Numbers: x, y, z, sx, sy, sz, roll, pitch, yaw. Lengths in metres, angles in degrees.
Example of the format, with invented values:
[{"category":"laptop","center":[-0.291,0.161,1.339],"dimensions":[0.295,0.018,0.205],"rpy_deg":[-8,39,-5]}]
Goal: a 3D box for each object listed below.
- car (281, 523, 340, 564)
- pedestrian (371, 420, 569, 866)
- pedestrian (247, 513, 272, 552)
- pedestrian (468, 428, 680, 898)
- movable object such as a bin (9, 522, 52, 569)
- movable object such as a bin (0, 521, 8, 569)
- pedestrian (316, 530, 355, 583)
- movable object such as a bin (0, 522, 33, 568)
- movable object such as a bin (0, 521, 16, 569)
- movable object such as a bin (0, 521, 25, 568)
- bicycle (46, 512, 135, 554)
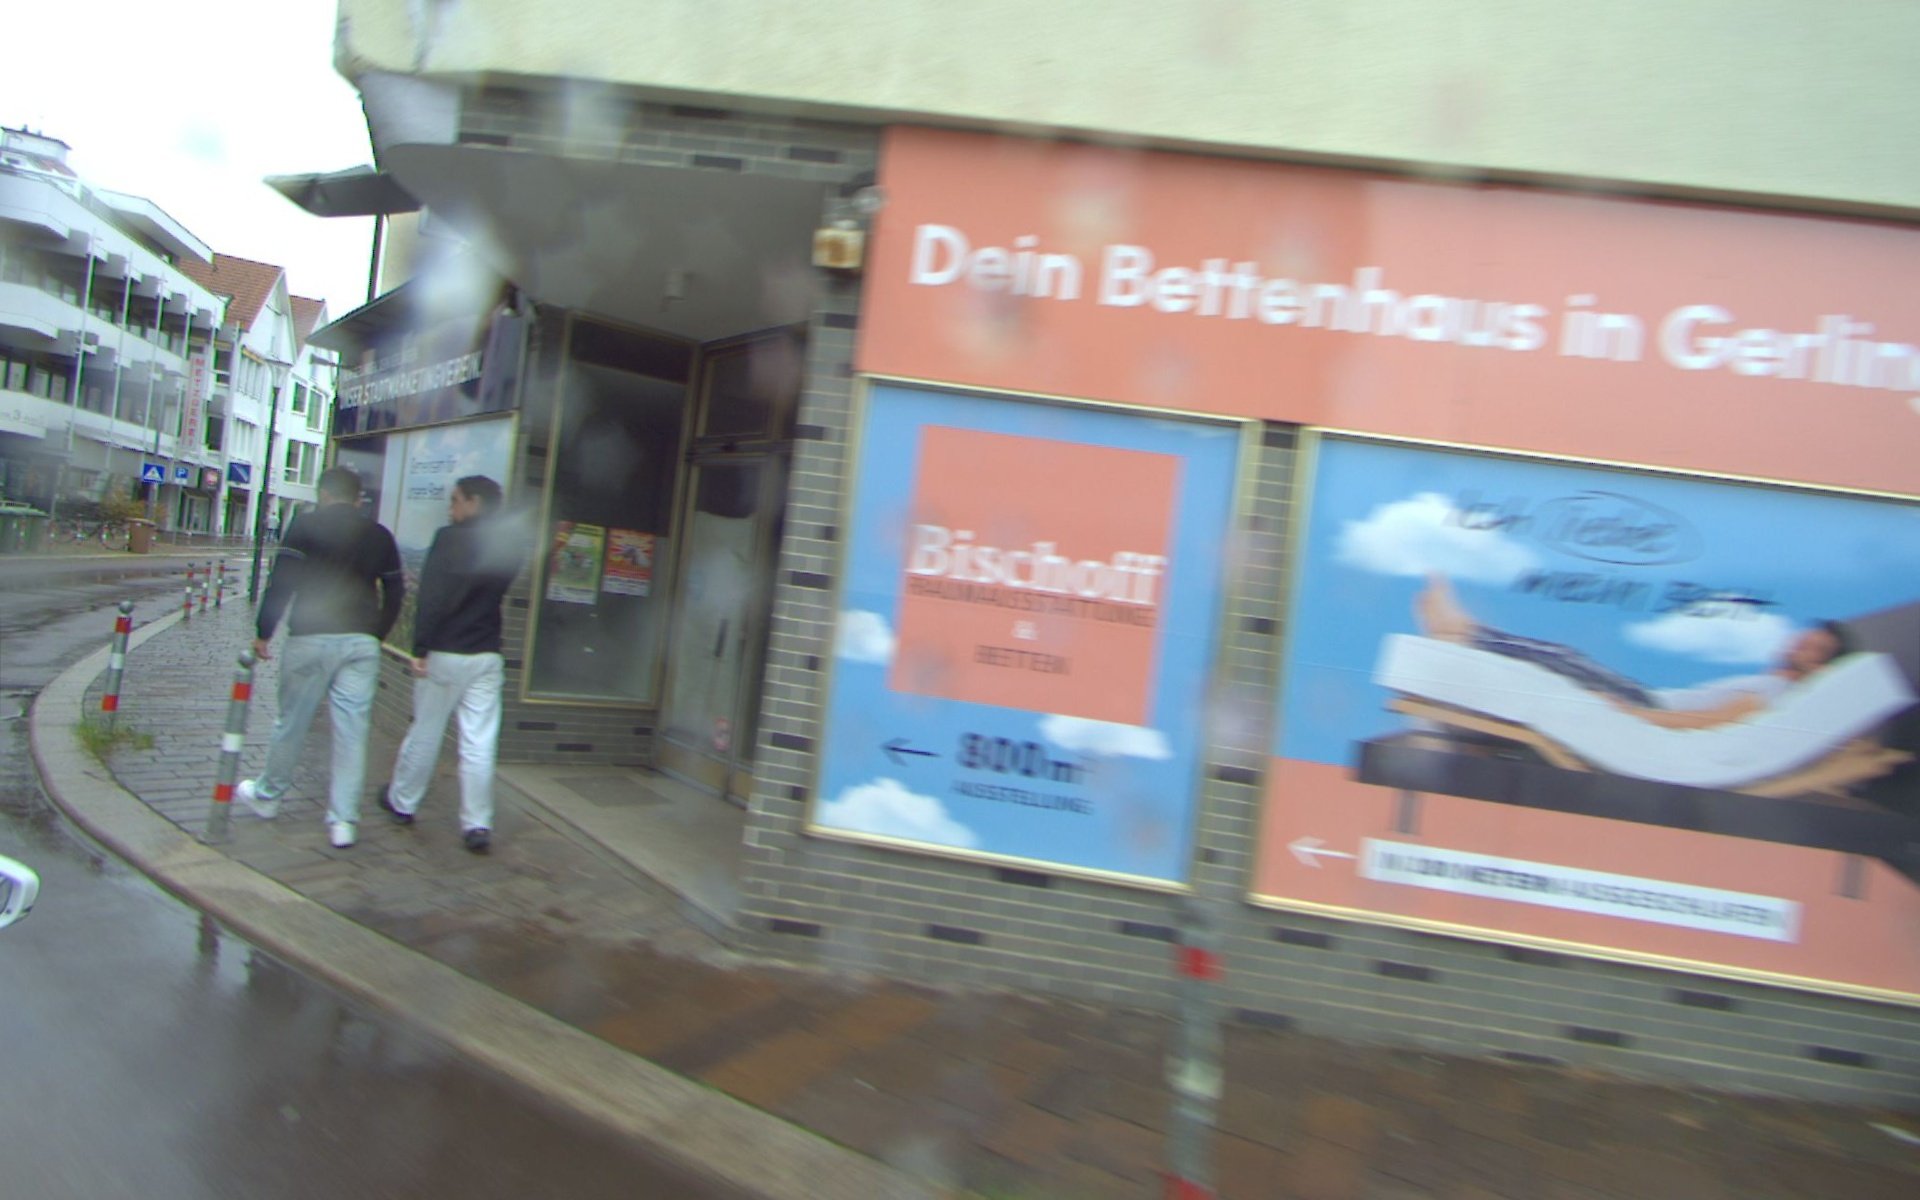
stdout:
[{"category":"car","center":[-36.073,-3.100,55.999],"dimensions":[1.972,2.039,3.980],"rpy_deg":[4,0,-23]},{"category":"pedestrian","center":[-2.489,0.203,5.085],"dimensions":[0.647,2.040,0.753],"rpy_deg":[3,1,-38]},{"category":"pedestrian","center":[-38.678,-3.720,55.560],"dimensions":[0.826,2.040,1.003],"rpy_deg":[4,1,-21]},{"category":"pedestrian","center":[-1.873,0.282,4.852],"dimensions":[0.647,2.040,0.753],"rpy_deg":[3,1,-38]},{"category":"movable object such as a bin","center":[-24.406,-1.423,26.427],"dimensions":[0.626,1.142,0.573],"rpy_deg":[4,1,-24]},{"category":"movable object such as a bin","center":[-23.258,-1.336,23.969],"dimensions":[0.626,1.142,0.573],"rpy_deg":[4,1,-24]},{"category":"pedestrian","center":[-25.796,-1.787,41.568],"dimensions":[1.131,2.040,0.822],"rpy_deg":[6,2,-25]},{"category":"movable object such as a bin","center":[-24.281,-1.409,25.734],"dimensions":[0.626,1.142,0.573],"rpy_deg":[4,1,-24]},{"category":"movable object such as a bin","center":[-23.616,-1.362,24.573],"dimensions":[0.626,1.142,0.573],"rpy_deg":[4,1,-24]},{"category":"movable object such as a bin","center":[-23.993,-1.389,25.200],"dimensions":[0.626,1.142,0.573],"rpy_deg":[4,1,-24]},{"category":"bicycle","center":[-32.819,-2.522,38.032],"dimensions":[2.275,1.331,1.006],"rpy_deg":[4,1,-20]}]
